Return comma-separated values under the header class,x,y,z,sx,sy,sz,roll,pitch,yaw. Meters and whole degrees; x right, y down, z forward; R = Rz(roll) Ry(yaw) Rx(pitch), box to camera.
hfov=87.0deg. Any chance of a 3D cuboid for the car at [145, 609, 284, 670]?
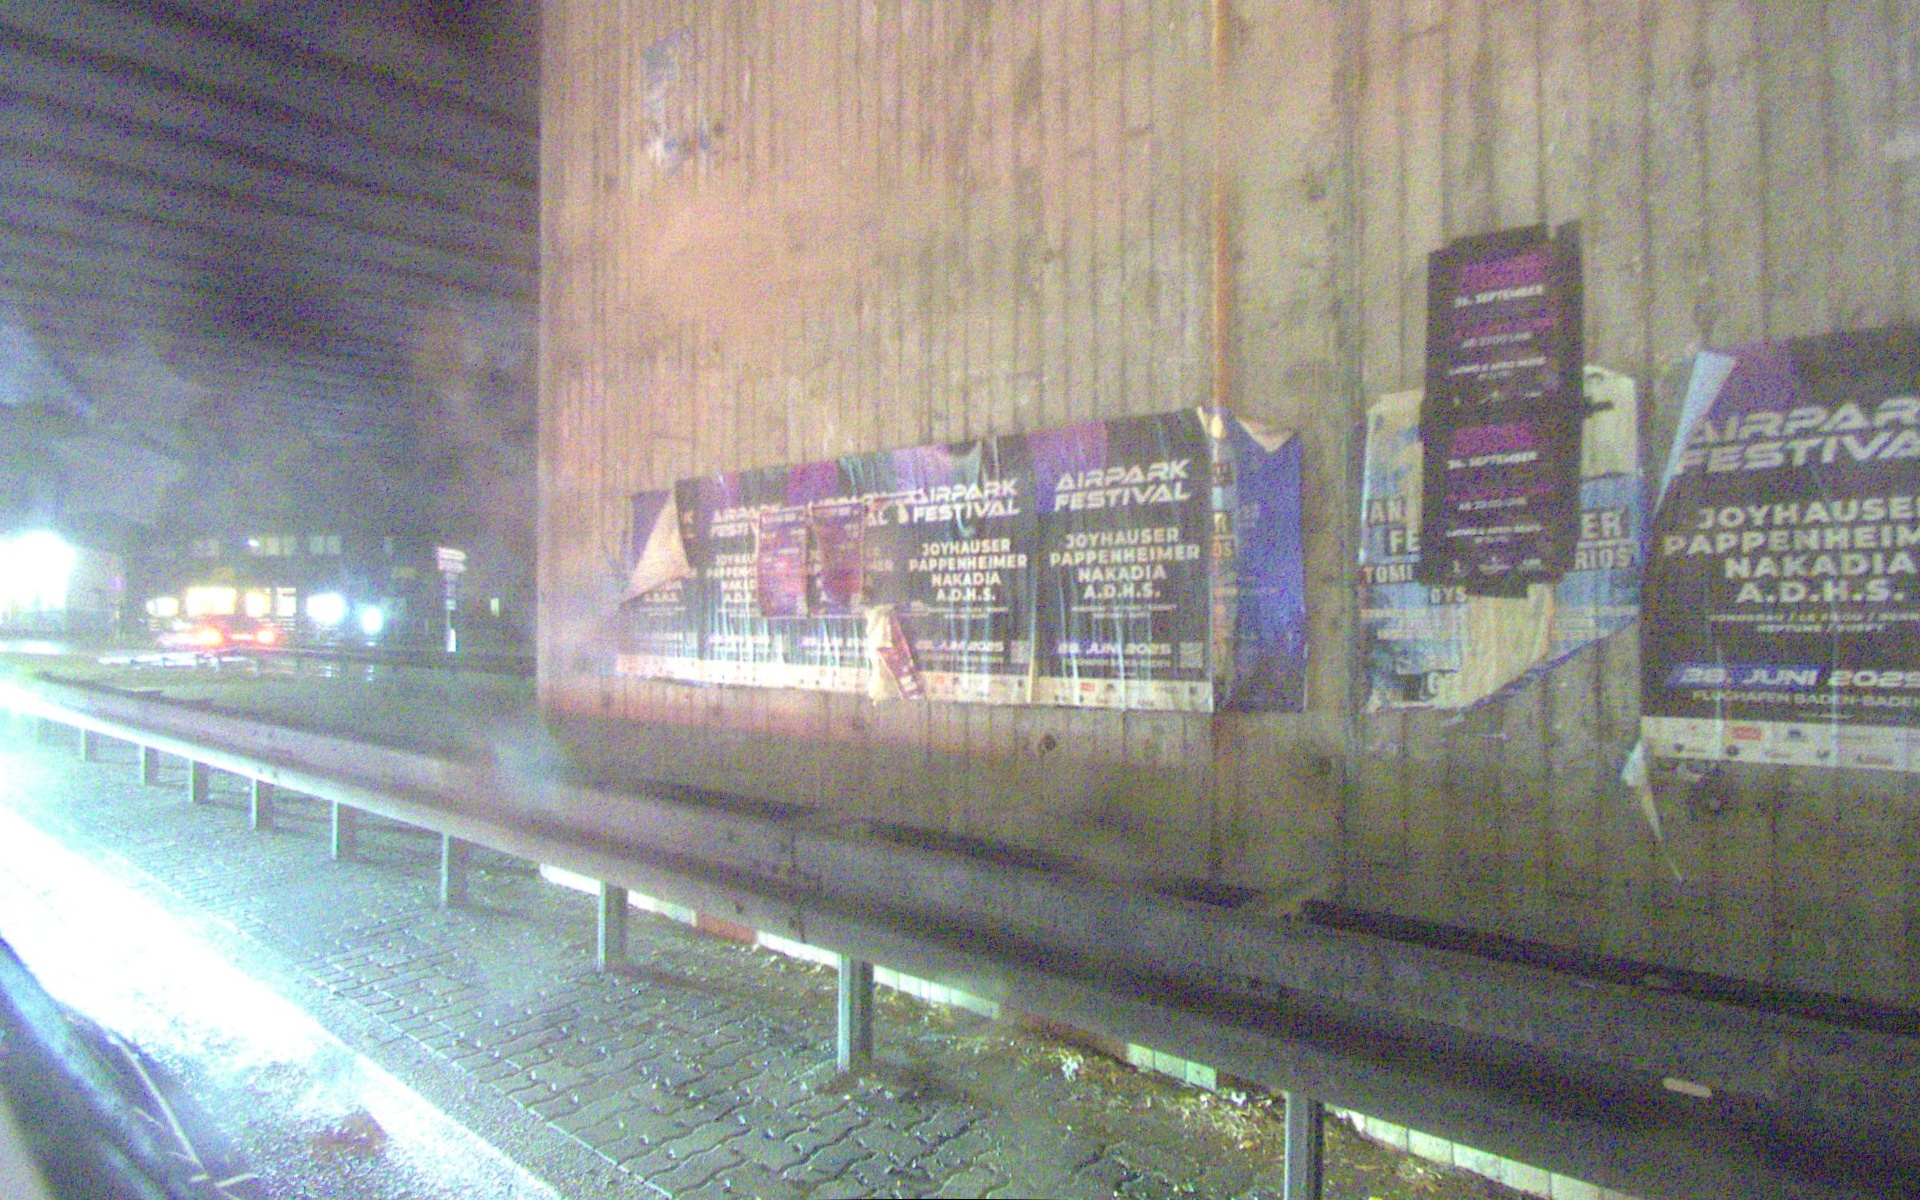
class,x,y,z,sx,sy,sz,roll,pitch,yaw
car,-21.238,1.152,28.801,4.070,1.600,1.890,-2,-4,34
